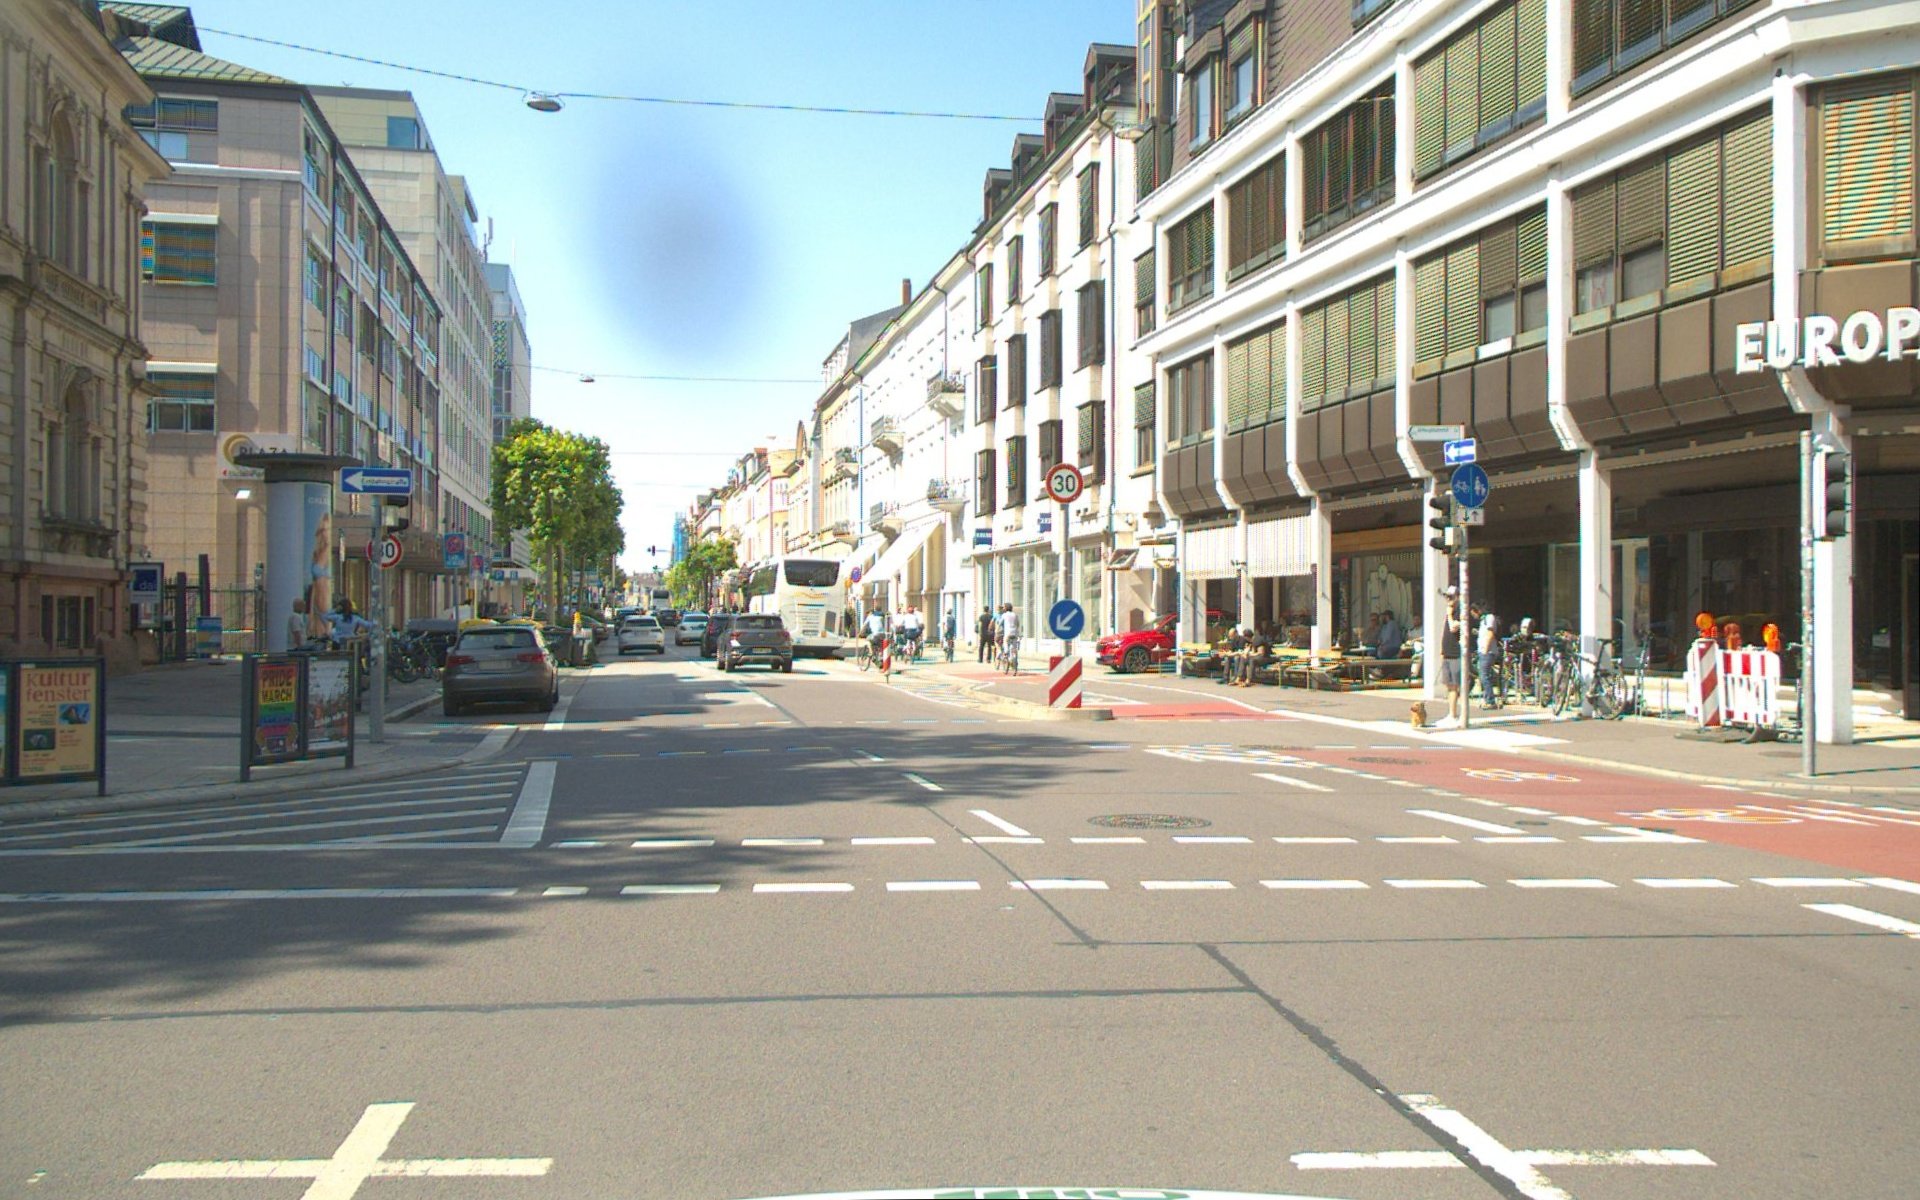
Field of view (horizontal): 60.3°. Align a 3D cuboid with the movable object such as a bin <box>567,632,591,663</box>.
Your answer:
[{"bbox_3d":[-11.995,1.488,52.084,0.549,0.955,0.494,-2,1,-38],"label":"movable object such as a bin"}]

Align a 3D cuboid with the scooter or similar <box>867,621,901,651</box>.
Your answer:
[{"bbox_3d":[-2.870,1.364,62.272,1.102,1.121,1.082,0,-1,-13],"label":"scooter or similar"}]

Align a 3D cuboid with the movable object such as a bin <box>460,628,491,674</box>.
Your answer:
[{"bbox_3d":[-12.355,1.303,42.184,0.712,1.117,0.653,1,0,-19],"label":"movable object such as a bin"}]

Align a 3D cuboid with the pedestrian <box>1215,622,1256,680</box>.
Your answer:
[{"bbox_3d":[5.861,1.084,35.210,0.697,1.193,0.696,-1,-2,-3],"label":"pedestrian"}]

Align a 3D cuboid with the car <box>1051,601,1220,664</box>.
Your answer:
[{"bbox_3d":[4.499,0.856,42.633,3.972,1.521,1.837,-1,-3,-11],"label":"car"}]

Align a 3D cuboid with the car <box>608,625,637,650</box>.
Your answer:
[{"bbox_3d":[-20.863,2.300,102.221,1.712,1.466,3.988,0,0,-12],"label":"car"}]

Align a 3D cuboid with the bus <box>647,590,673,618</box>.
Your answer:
[{"bbox_3d":[-39.343,0.493,216.507,2.724,3.668,8.938,0,0,-15],"label":"bus"}]

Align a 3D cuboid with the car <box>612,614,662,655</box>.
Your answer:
[{"bbox_3d":[-12.613,1.325,64.570,1.830,1.466,3.989,0,1,-11],"label":"car"}]

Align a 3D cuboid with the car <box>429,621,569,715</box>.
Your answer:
[{"bbox_3d":[-7.741,1.093,28.117,1.901,1.378,4.239,-1,0,-10],"label":"car"}]

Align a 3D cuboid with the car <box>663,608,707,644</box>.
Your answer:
[{"bbox_3d":[-12.757,1.211,76.542,1.801,1.554,3.987,-2,-1,-12],"label":"car"}]

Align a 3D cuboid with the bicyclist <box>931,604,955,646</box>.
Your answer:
[{"bbox_3d":[-0.539,0.806,52.527,0.609,1.319,0.864,0,-1,-13],"label":"bicyclist"}]

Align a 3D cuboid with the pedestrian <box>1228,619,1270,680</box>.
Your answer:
[{"bbox_3d":[6.002,1.029,34.368,0.697,1.238,0.696,-1,-2,-3],"label":"pedestrian"}]

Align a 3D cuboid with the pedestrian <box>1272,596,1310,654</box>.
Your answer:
[{"bbox_3d":[8.037,0.611,40.168,0.731,1.391,0.582,0,-1,-13],"label":"pedestrian"}]

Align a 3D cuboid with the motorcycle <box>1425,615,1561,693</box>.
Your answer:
[{"bbox_3d":[9.232,0.941,28.746,2.188,1.313,0.949,-1,-2,16],"label":"motorcycle"}]

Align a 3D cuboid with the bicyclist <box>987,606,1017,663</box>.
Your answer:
[{"bbox_3d":[1.154,0.943,45.585,0.609,1.556,0.866,0,-1,-13],"label":"bicyclist"}]

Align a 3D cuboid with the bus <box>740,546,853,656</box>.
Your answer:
[{"bbox_3d":[-6.573,0.062,64.681,2.831,3.807,12.386,2,-1,-13],"label":"bus"}]

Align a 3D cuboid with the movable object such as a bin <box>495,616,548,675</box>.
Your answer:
[{"bbox_3d":[-11.597,1.200,43.792,1.102,1.476,1.437,2,0,-6],"label":"movable object such as a bin"}]

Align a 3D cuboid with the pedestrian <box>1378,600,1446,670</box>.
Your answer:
[{"bbox_3d":[9.114,0.708,33.389,0.880,1.374,1.102,0,-2,-13],"label":"pedestrian"}]

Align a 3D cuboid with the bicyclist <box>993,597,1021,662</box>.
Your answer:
[{"bbox_3d":[1.211,0.768,42.776,0.680,1.654,0.835,-1,-1,-1],"label":"bicyclist"}]

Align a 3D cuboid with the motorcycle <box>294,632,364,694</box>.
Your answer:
[{"bbox_3d":[-10.914,1.073,28.665,0.444,1.015,2.159,1,-1,-2],"label":"motorcycle"}]

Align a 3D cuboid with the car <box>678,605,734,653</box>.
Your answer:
[{"bbox_3d":[-8.928,1.043,57.960,1.800,1.554,3.989,-2,-1,-10],"label":"car"}]

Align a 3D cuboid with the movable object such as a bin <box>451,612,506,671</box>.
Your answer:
[{"bbox_3d":[-12.694,1.078,43.662,1.102,1.476,1.437,2,0,-6],"label":"movable object such as a bin"}]

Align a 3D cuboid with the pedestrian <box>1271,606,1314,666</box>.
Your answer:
[{"bbox_3d":[7.863,0.851,39.095,0.862,1.391,0.535,0,-1,-13],"label":"pedestrian"}]

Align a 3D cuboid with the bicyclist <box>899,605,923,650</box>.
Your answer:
[{"bbox_3d":[-1.530,0.850,51.456,0.609,1.394,0.778,0,-1,-13],"label":"bicyclist"}]

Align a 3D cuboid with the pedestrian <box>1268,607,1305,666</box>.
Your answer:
[{"bbox_3d":[7.803,0.864,39.557,0.748,1.391,0.476,0,-1,-13],"label":"pedestrian"}]

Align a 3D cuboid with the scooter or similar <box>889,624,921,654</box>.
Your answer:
[{"bbox_3d":[-1.818,1.278,54.666,0.851,0.974,1.208,0,-1,-14],"label":"scooter or similar"}]

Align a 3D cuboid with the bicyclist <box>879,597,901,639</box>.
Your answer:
[{"bbox_3d":[-2.376,0.613,56.209,0.609,1.394,0.778,0,-1,-13],"label":"bicyclist"}]

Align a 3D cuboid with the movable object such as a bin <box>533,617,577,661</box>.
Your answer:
[{"bbox_3d":[-12.363,1.195,50.480,1.254,1.322,0.851,0,-1,-12],"label":"movable object such as a bin"}]

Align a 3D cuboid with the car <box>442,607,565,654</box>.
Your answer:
[{"bbox_3d":[-16.145,1.051,58.485,3.969,1.520,1.932,1,0,29],"label":"car"}]

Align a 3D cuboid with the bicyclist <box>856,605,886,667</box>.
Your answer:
[{"bbox_3d":[-2.547,1.029,47.089,0.682,1.702,0.913,2,0,-11],"label":"bicyclist"}]

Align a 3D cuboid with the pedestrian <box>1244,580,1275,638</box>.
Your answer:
[{"bbox_3d":[7.252,0.221,40.027,0.526,1.391,0.687,0,-1,-11],"label":"pedestrian"}]

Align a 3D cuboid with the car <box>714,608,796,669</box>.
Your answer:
[{"bbox_3d":[-5.574,1.020,44.678,1.801,1.554,3.987,1,-1,-13],"label":"car"}]

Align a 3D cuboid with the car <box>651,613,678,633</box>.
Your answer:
[{"bbox_3d":[-22.126,1.720,123.825,1.830,1.466,3.988,0,0,-12],"label":"car"}]

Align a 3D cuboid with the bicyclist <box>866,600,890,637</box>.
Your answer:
[{"bbox_3d":[-3.165,0.720,63.768,0.774,1.403,0.720,0,-1,-14],"label":"bicyclist"}]

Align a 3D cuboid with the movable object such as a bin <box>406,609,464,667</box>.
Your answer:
[{"bbox_3d":[-13.841,0.992,43.655,1.185,1.476,1.362,2,0,-6],"label":"movable object such as a bin"}]

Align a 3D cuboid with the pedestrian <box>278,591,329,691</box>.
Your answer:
[{"bbox_3d":[-11.347,0.716,28.598,0.538,1.694,0.936,-1,-2,-3],"label":"pedestrian"}]

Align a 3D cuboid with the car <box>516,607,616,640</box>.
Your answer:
[{"bbox_3d":[-19.246,1.123,80.825,4.691,1.447,1.880,2,0,29],"label":"car"}]
